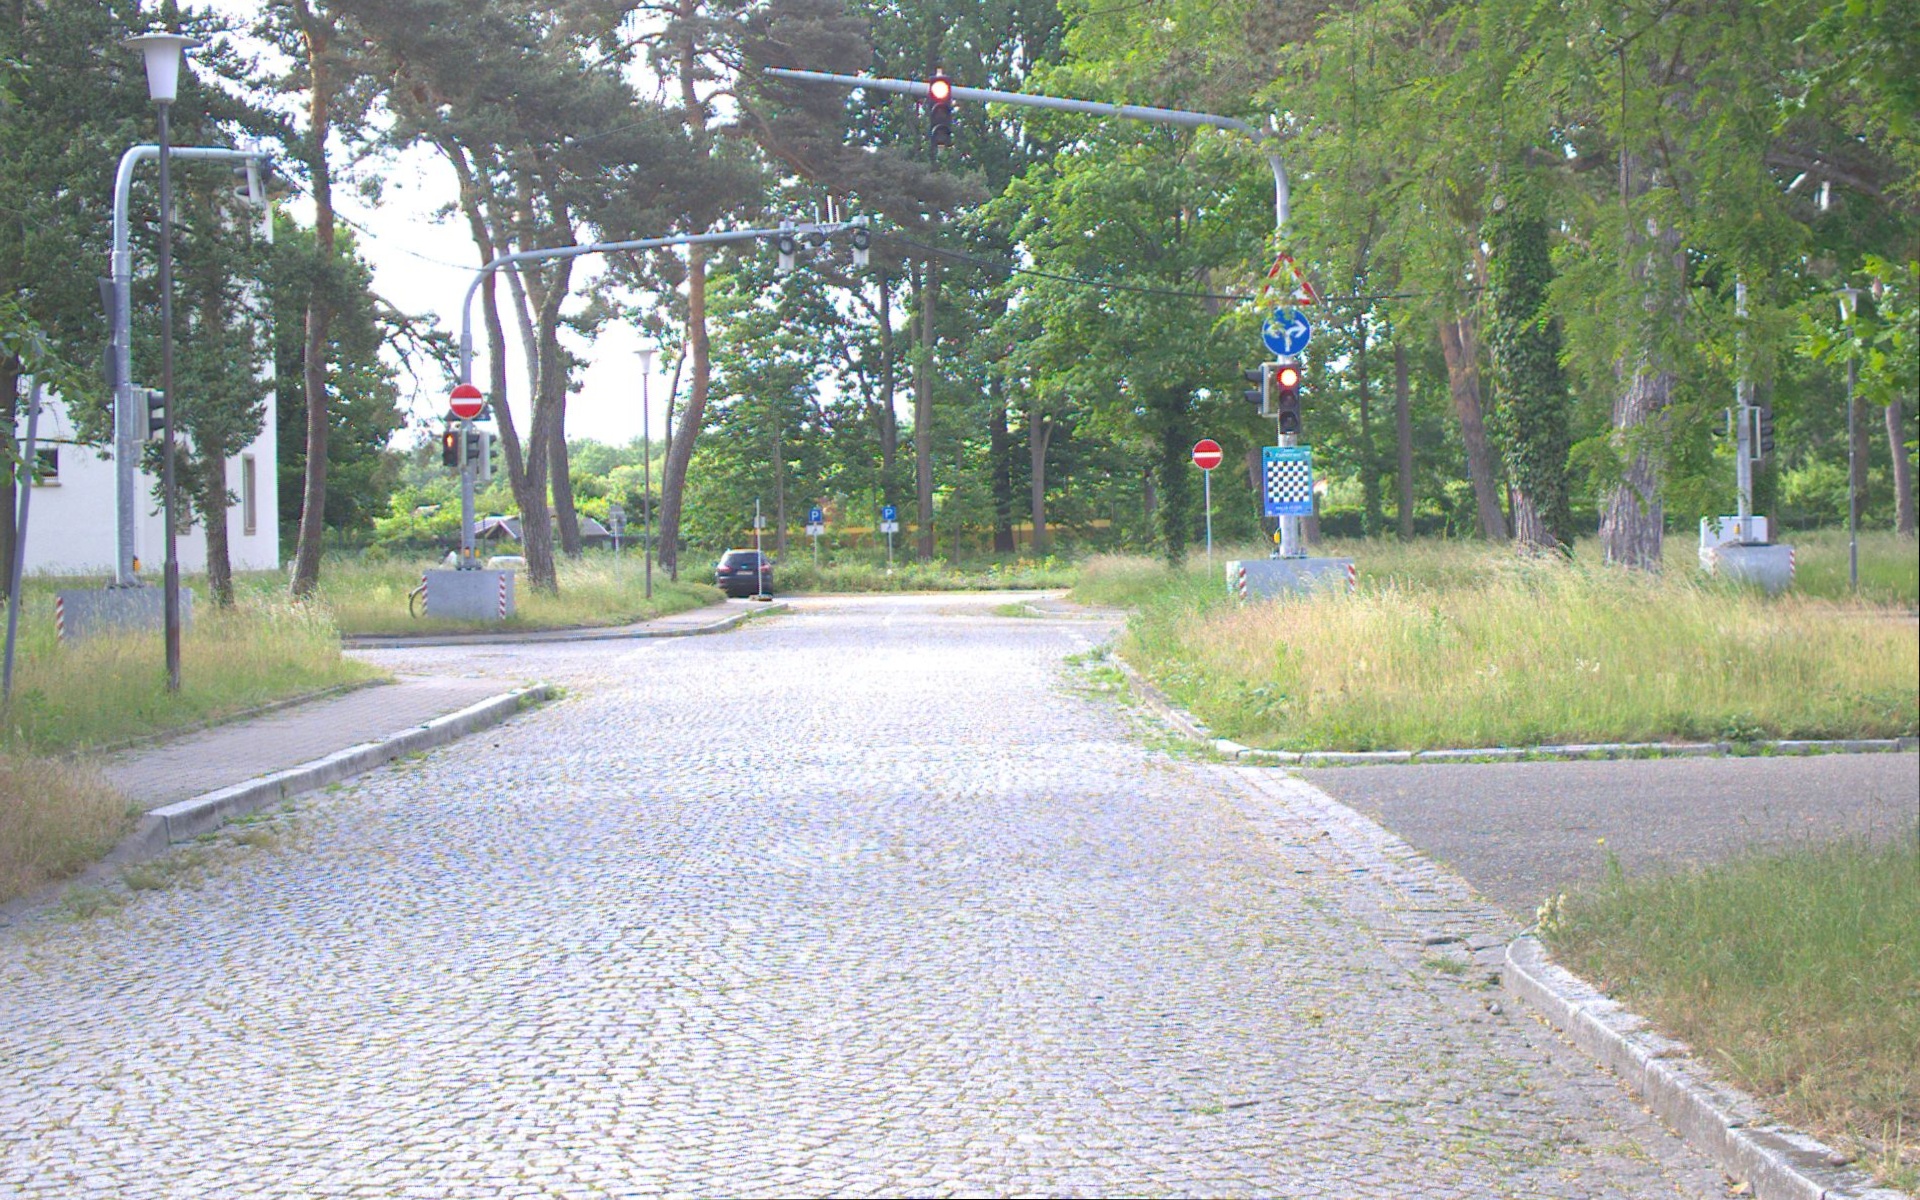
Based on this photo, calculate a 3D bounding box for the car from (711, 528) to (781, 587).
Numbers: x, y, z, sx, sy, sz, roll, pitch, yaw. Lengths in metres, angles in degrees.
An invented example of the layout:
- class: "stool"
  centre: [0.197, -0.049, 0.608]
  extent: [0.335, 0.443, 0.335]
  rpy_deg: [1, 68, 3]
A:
- class: "car"
  centre: [-6.830, -1.379, 110.189]
  extent: [2.056, 1.840, 4.000]
  rpy_deg: [-1, 1, -1]
